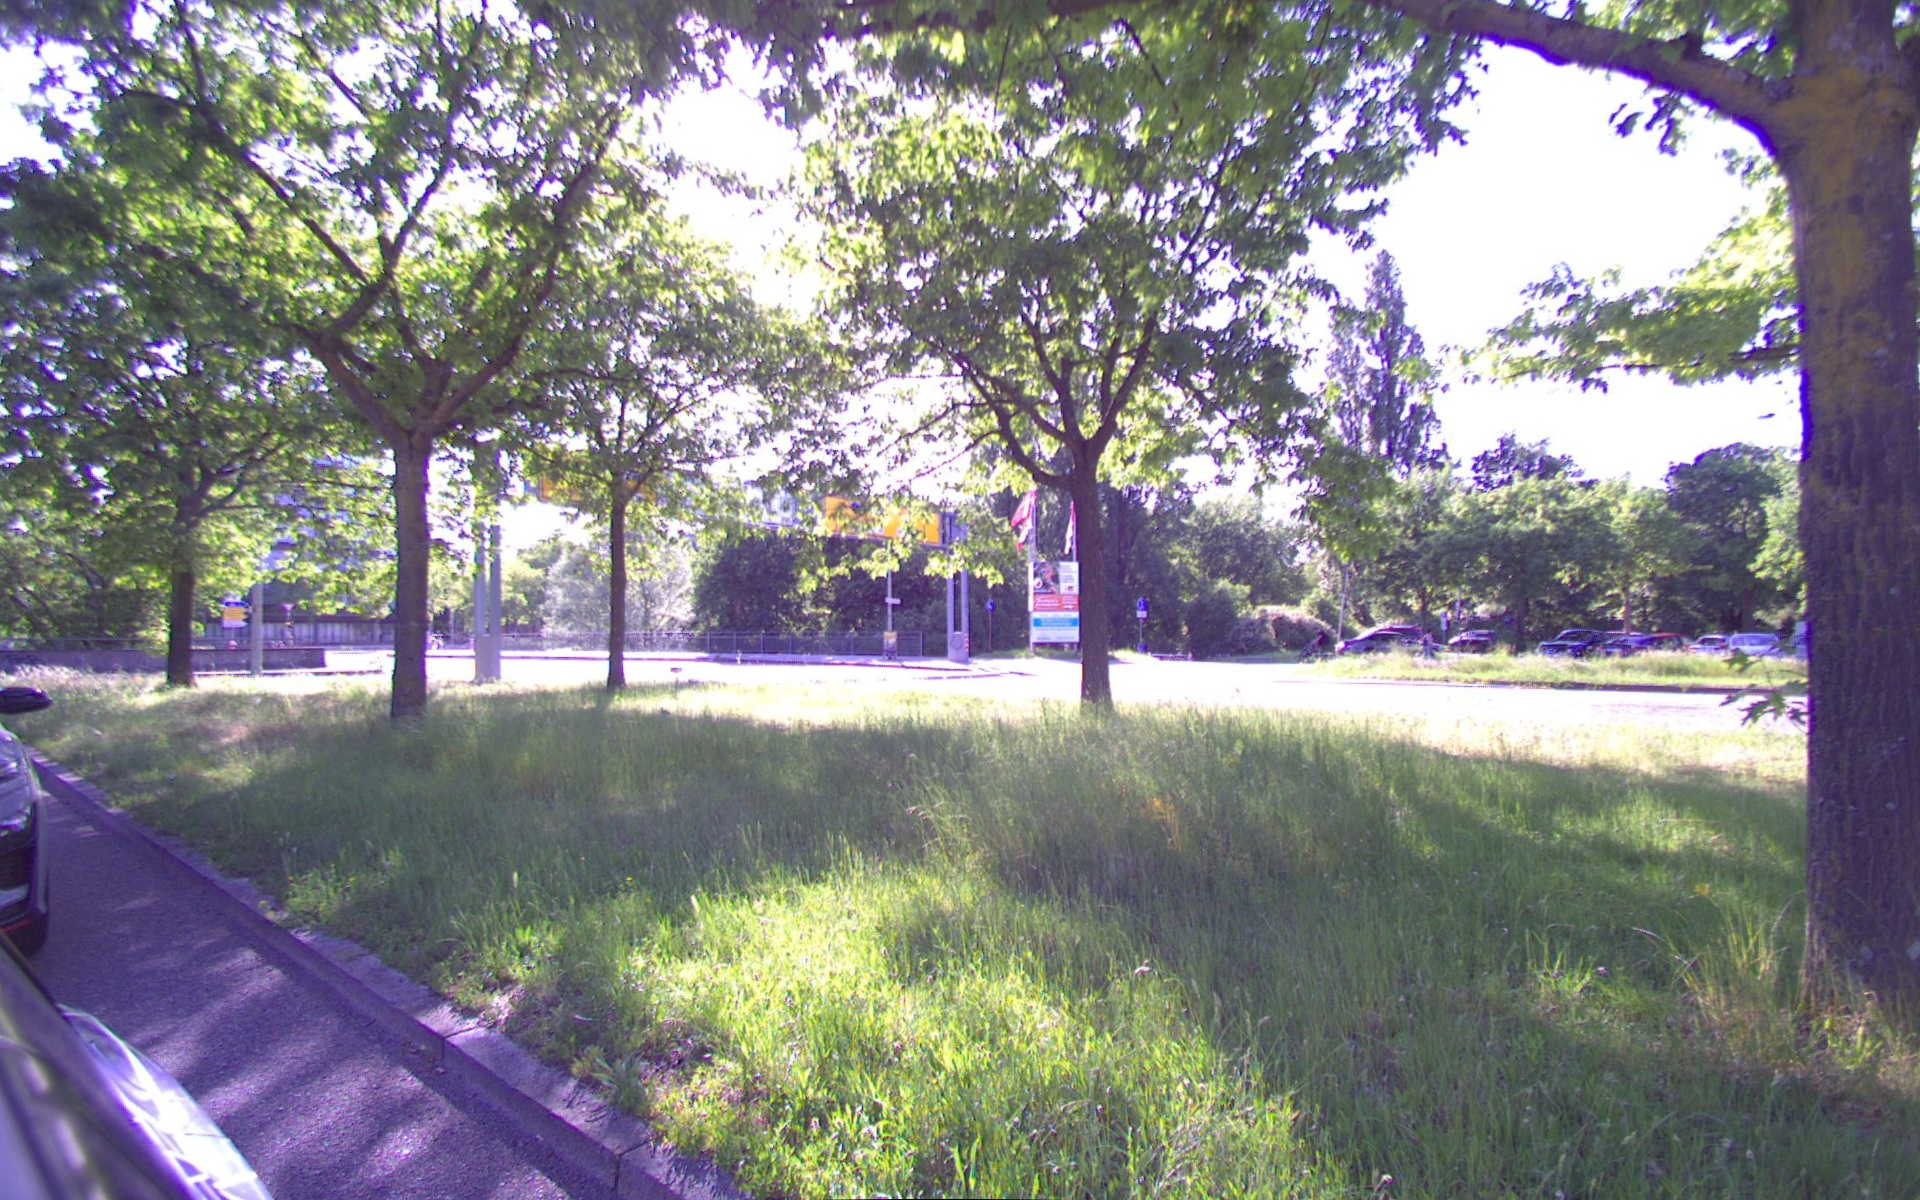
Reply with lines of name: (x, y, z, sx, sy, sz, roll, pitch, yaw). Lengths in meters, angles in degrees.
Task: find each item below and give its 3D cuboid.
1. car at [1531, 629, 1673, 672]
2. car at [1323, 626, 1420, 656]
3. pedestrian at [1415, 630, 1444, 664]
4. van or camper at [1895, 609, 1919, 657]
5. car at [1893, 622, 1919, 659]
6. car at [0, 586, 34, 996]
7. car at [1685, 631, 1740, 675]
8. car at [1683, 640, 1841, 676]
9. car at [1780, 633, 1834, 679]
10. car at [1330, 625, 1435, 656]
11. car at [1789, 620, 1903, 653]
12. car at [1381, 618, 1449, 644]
car: (23.617, 1.831, 37.362, 1.791, 1.459, 4.012, 0, -2, -30)
car: (22.049, 2.206, 54.370, 4.509, 1.475, 1.993, -1, 0, 12)
pedestrian: (20.198, 2.019, 43.541, 0.873, 1.429, 0.988, -2, -2, 41)
van or camper: (44.454, 1.448, 44.567, 1.966, 2.112, 4.414, 1, -2, -32)
car: (42.602, 1.710, 42.960, 1.936, 1.484, 4.011, -2, -1, -33)
car: (-5.655, 0.769, 4.670, 3.980, 1.563, 1.756, -2, -2, 43)
car: (33.130, 2.282, 44.518, 1.653, 1.618, 3.834, -2, 1, 40)
car: (26.709, 1.911, 33.900, 3.990, 1.137, 1.801, -2, -2, 35)
car: (35.798, 2.316, 42.790, 1.653, 1.618, 3.834, -2, 1, 40)
car: (21.144, 2.024, 50.861, 4.509, 1.475, 1.993, -1, 0, 12)
car: (43.782, 1.795, 50.063, 1.969, 1.521, 4.005, 1, -2, -41)
car: (32.518, 2.241, 72.282, 4.126, 1.814, 1.976, -2, -2, 35)
